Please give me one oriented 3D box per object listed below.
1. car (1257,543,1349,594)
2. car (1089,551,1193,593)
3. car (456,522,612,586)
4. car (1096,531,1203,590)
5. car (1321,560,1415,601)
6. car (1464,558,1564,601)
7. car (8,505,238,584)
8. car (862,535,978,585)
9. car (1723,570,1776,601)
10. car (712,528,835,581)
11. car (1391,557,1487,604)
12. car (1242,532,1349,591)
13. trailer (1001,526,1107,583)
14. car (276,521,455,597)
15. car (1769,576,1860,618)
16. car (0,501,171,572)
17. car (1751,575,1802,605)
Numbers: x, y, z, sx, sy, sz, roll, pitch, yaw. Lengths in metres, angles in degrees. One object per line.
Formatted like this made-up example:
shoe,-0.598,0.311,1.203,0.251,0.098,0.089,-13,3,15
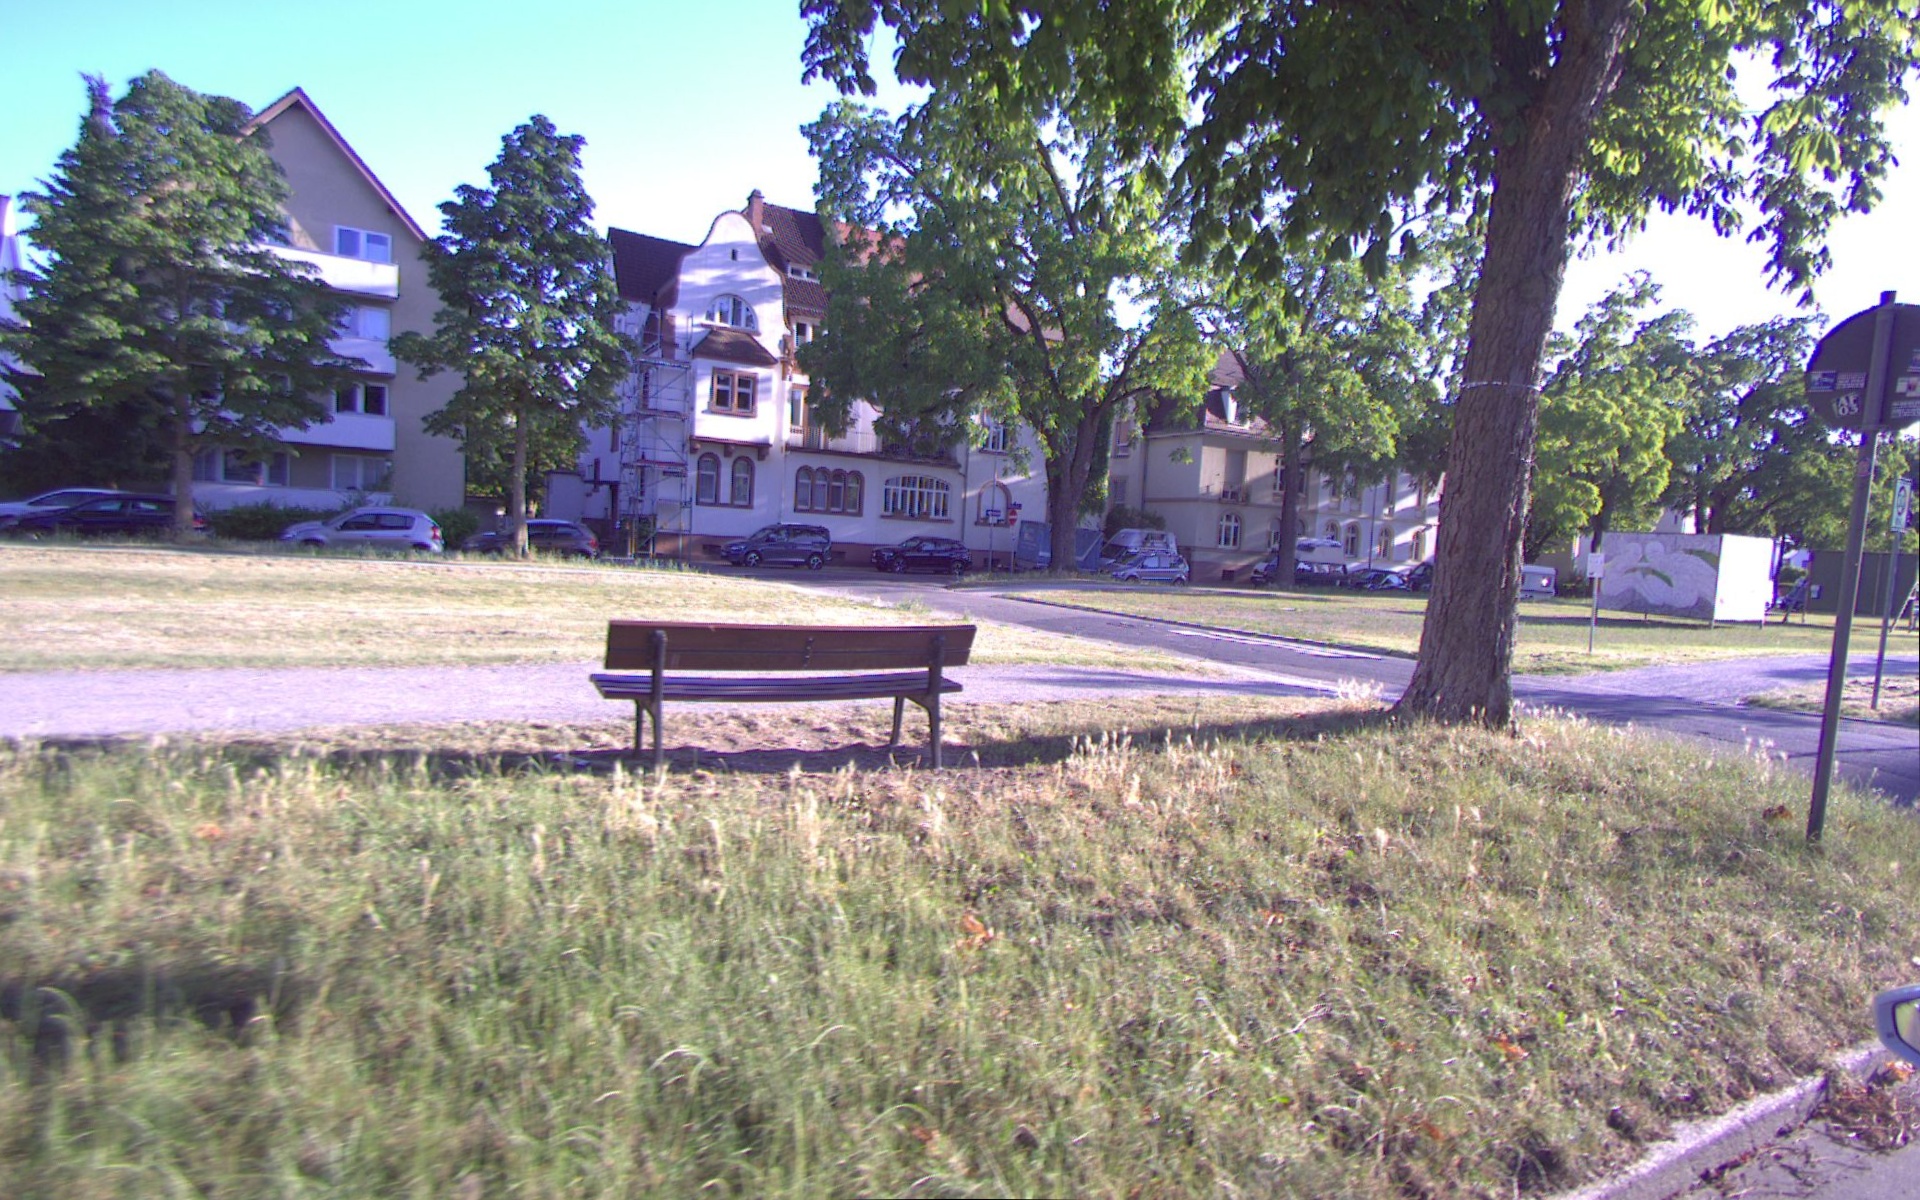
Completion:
car,16.409,-1.487,47.993,4.262,2.205,1.677,1,4,-30
car,7.754,-1.178,42.950,4.262,1.581,1.677,1,3,-30
car,-13.063,-1.398,30.804,4.203,1.671,1.984,2,4,-29
car,9.592,-1.993,50.763,5.125,2.709,1.984,1,4,-30
car,20.574,-0.976,50.675,4.430,1.817,1.984,1,3,-29
car,31.620,-1.148,57.297,5.393,2.267,2.522,0,3,-30
car,-21.265,-1.424,25.787,4.203,1.744,1.984,1,4,-29
car,-1.759,-1.752,44.375,4.697,1.979,1.983,1,4,-32
car,66.777,-1.213,84.959,4.311,2.442,1.984,1,1,-30
car,-7.528,-1.828,40.714,4.447,1.902,1.982,1,4,-33
car,25.532,-1.042,53.525,5.126,2.281,1.983,1,4,-30
car,18.752,-2.118,56.127,5.750,2.961,2.426,1,1,-30
trailer,4.481,-2.161,47.714,4.668,2.461,1.984,1,4,-30
car,-16.712,-1.155,28.454,4.203,1.885,1.984,1,4,-29
car,66.358,-0.244,78.003,6.810,3.033,3.145,1,1,-29
car,-25.847,-1.855,29.515,3.956,1.807,1.982,1,4,-33
car,71.068,-0.881,87.424,4.311,2.442,1.984,1,1,-30
